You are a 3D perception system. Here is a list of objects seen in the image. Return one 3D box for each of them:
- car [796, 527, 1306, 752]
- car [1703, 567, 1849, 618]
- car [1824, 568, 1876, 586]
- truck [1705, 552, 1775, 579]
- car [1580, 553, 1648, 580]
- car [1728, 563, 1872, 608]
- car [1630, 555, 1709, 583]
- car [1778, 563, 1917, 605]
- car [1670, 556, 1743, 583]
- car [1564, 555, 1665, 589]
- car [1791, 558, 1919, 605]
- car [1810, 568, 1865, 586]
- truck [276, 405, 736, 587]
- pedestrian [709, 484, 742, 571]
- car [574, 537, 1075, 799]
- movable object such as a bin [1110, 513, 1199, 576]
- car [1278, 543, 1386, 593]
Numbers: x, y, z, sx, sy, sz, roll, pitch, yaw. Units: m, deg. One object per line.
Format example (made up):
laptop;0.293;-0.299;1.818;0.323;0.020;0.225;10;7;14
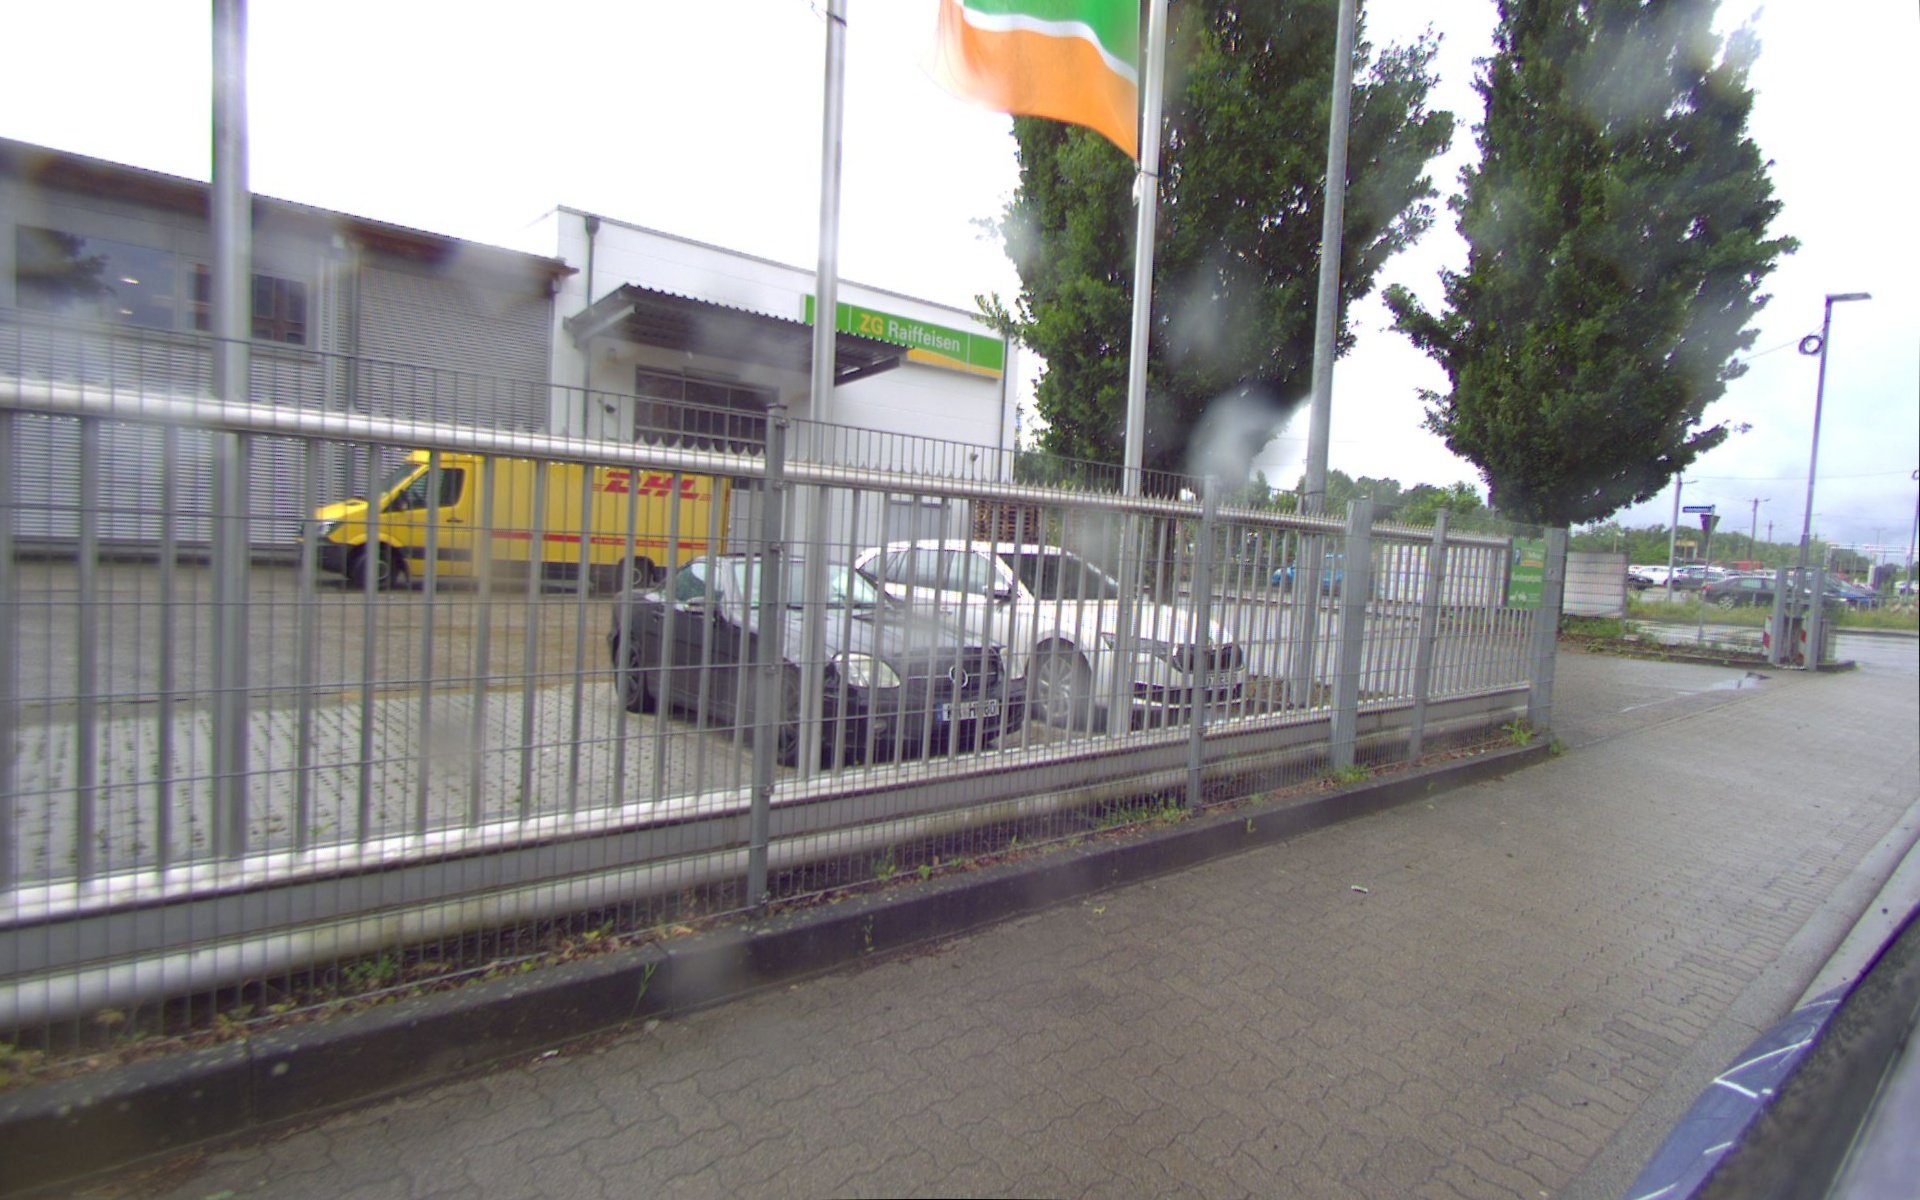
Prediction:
car;0.551;0.146;9.433;1.858;1.480;4.713;0;4;-42
car;31.699;-0.336;39.401;4.219;1.416;1.863;9;8;41
car;98.518;-2.538;112.086;1.774;1.554;3.966;-2;8;-38
truck;82.097;-3.666;106.582;2.115;2.395;5.303;-1;6;-40
car;51.584;-2.675;79.874;1.801;1.677;4.071;-3;9;-42
car;34.133;-0.626;41.237;1.857;1.527;4.193;-2;5;-39
car;47.818;-2.138;68.281;1.892;1.500;3.845;-2;8;-37
car;38.936;-0.750;44.462;1.787;1.534;4.307;-2;5;-39
car;55.697;-2.322;75.521;1.754;1.601;3.919;-2;8;-37
car;38.377;-1.683;59.437;4.622;1.736;1.988;5;6;44
car;41.752;-0.898;46.791;2.088;1.755;4.700;-1;7;-36
car;94.216;-2.482;108.668;1.891;1.507;4.080;-2;8;-38
truck;-8.010;-1.716;18.460;7.280;2.690;2.309;0;6;-38
pedestrian;-4.771;-1.472;20.559;0.425;1.738;0.457;0;5;-38
car;-1.204;0.251;7.213;1.591;1.271;3.946;0;4;-42
movable object such as a bin;9.888;-2.878;51.750;1.965;3.028;3.997;0;4;-41
car;16.174;-1.414;44.142;1.800;1.945;3.996;0;4;-41
